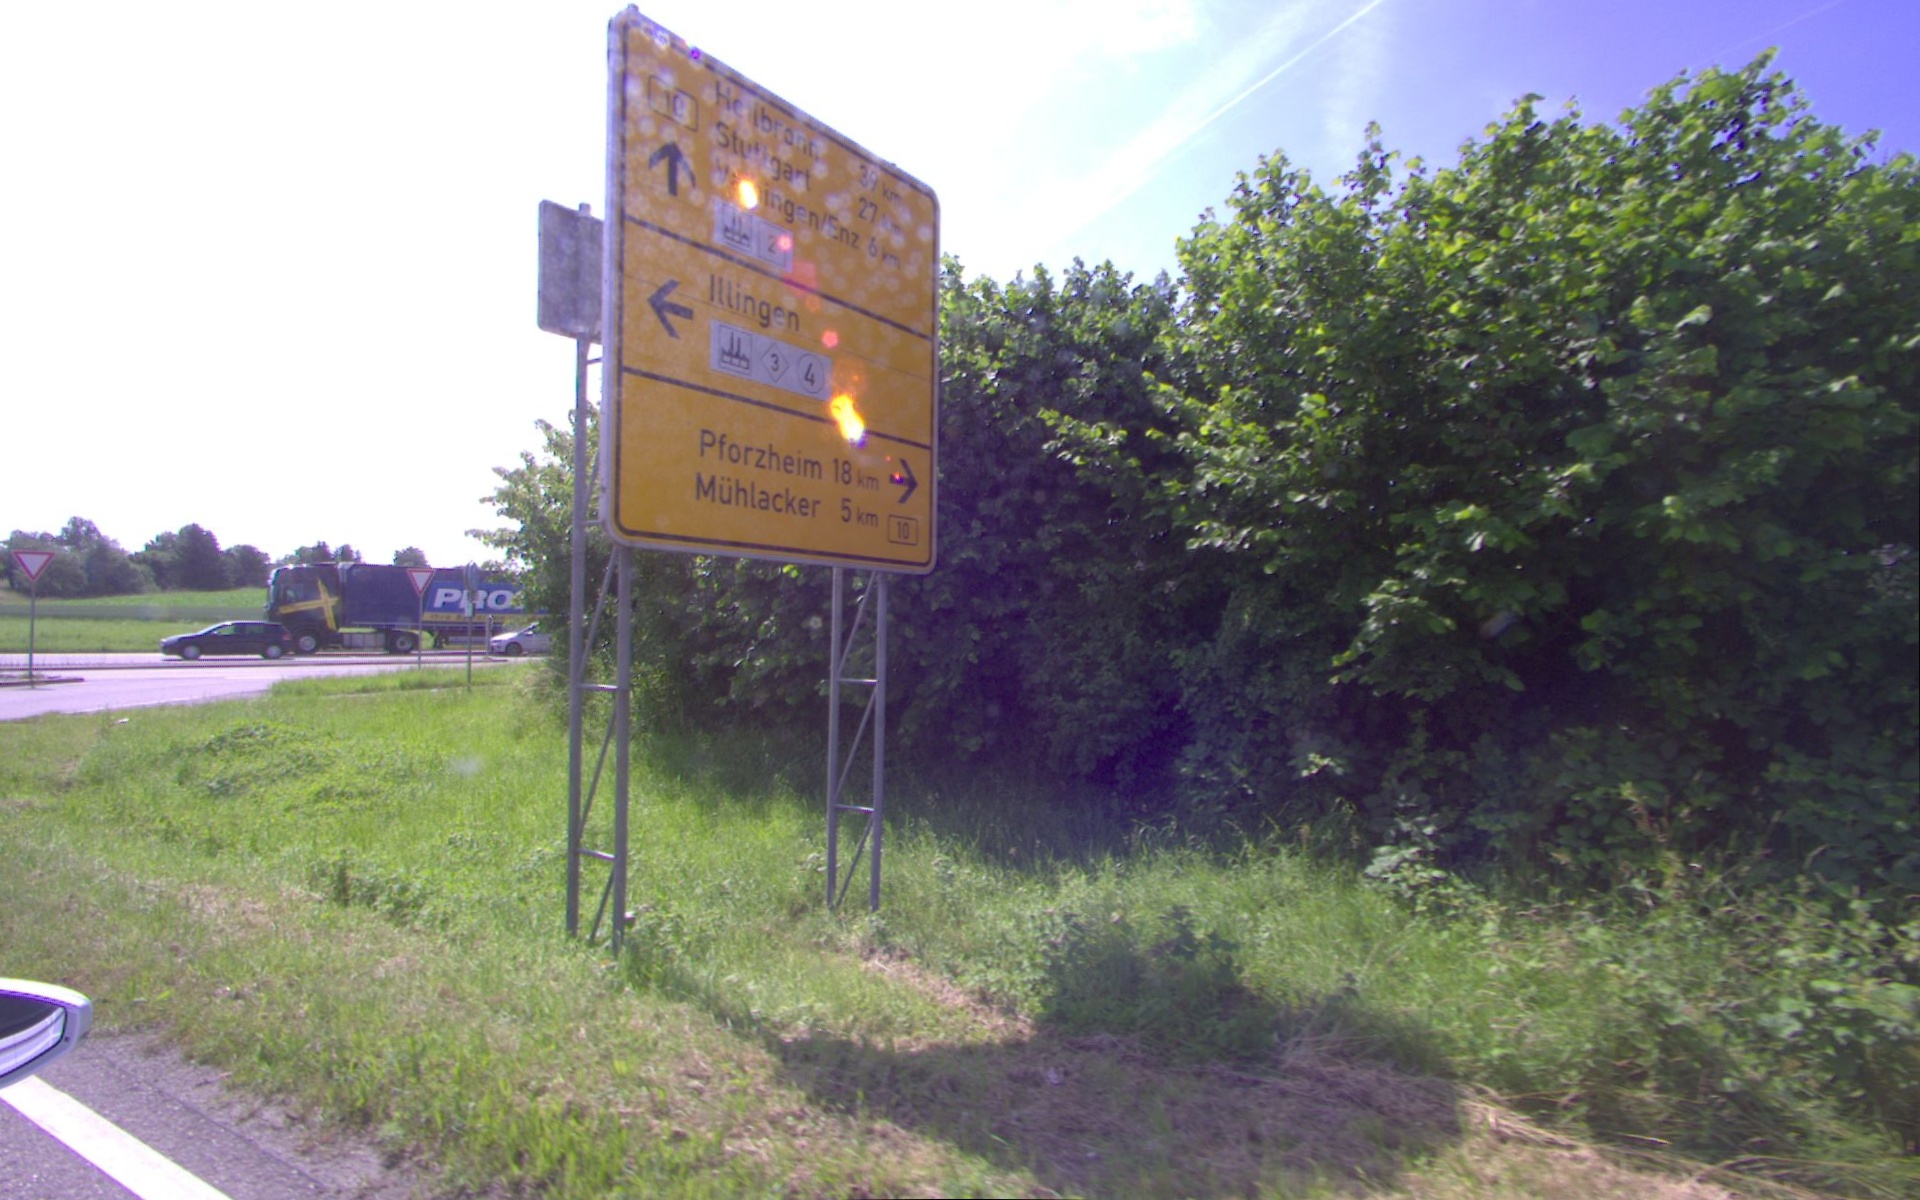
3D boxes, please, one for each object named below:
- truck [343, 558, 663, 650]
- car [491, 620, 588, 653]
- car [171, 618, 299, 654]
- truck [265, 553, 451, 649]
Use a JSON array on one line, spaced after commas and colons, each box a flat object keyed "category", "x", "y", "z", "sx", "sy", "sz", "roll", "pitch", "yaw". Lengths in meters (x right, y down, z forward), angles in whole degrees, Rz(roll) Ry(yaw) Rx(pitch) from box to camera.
[{"category": "truck", "x": -22.222, "y": 0.386, "z": 49.742, "sx": 14.154, "sy": 4.031, "sz": 3.006, "roll": 2, "pitch": -1, "yaw": -36}, {"category": "car", "x": -19.482, "y": 1.691, "z": 46.424, "sx": 3.956, "sy": 1.510, "sz": 1.528, "roll": 1, "pitch": -2, "yaw": -34}, {"category": "car", "x": -28.179, "y": 1.388, "z": 38.954, "sx": 3.956, "sy": 1.327, "sz": 1.752, "roll": 2, "pitch": -3, "yaw": -40}, {"category": "truck", "x": -27.454, "y": 0.163, "z": 45.813, "sx": 6.876, "sy": 4.046, "sz": 3.002, "roll": 2, "pitch": -1, "yaw": -39}]
